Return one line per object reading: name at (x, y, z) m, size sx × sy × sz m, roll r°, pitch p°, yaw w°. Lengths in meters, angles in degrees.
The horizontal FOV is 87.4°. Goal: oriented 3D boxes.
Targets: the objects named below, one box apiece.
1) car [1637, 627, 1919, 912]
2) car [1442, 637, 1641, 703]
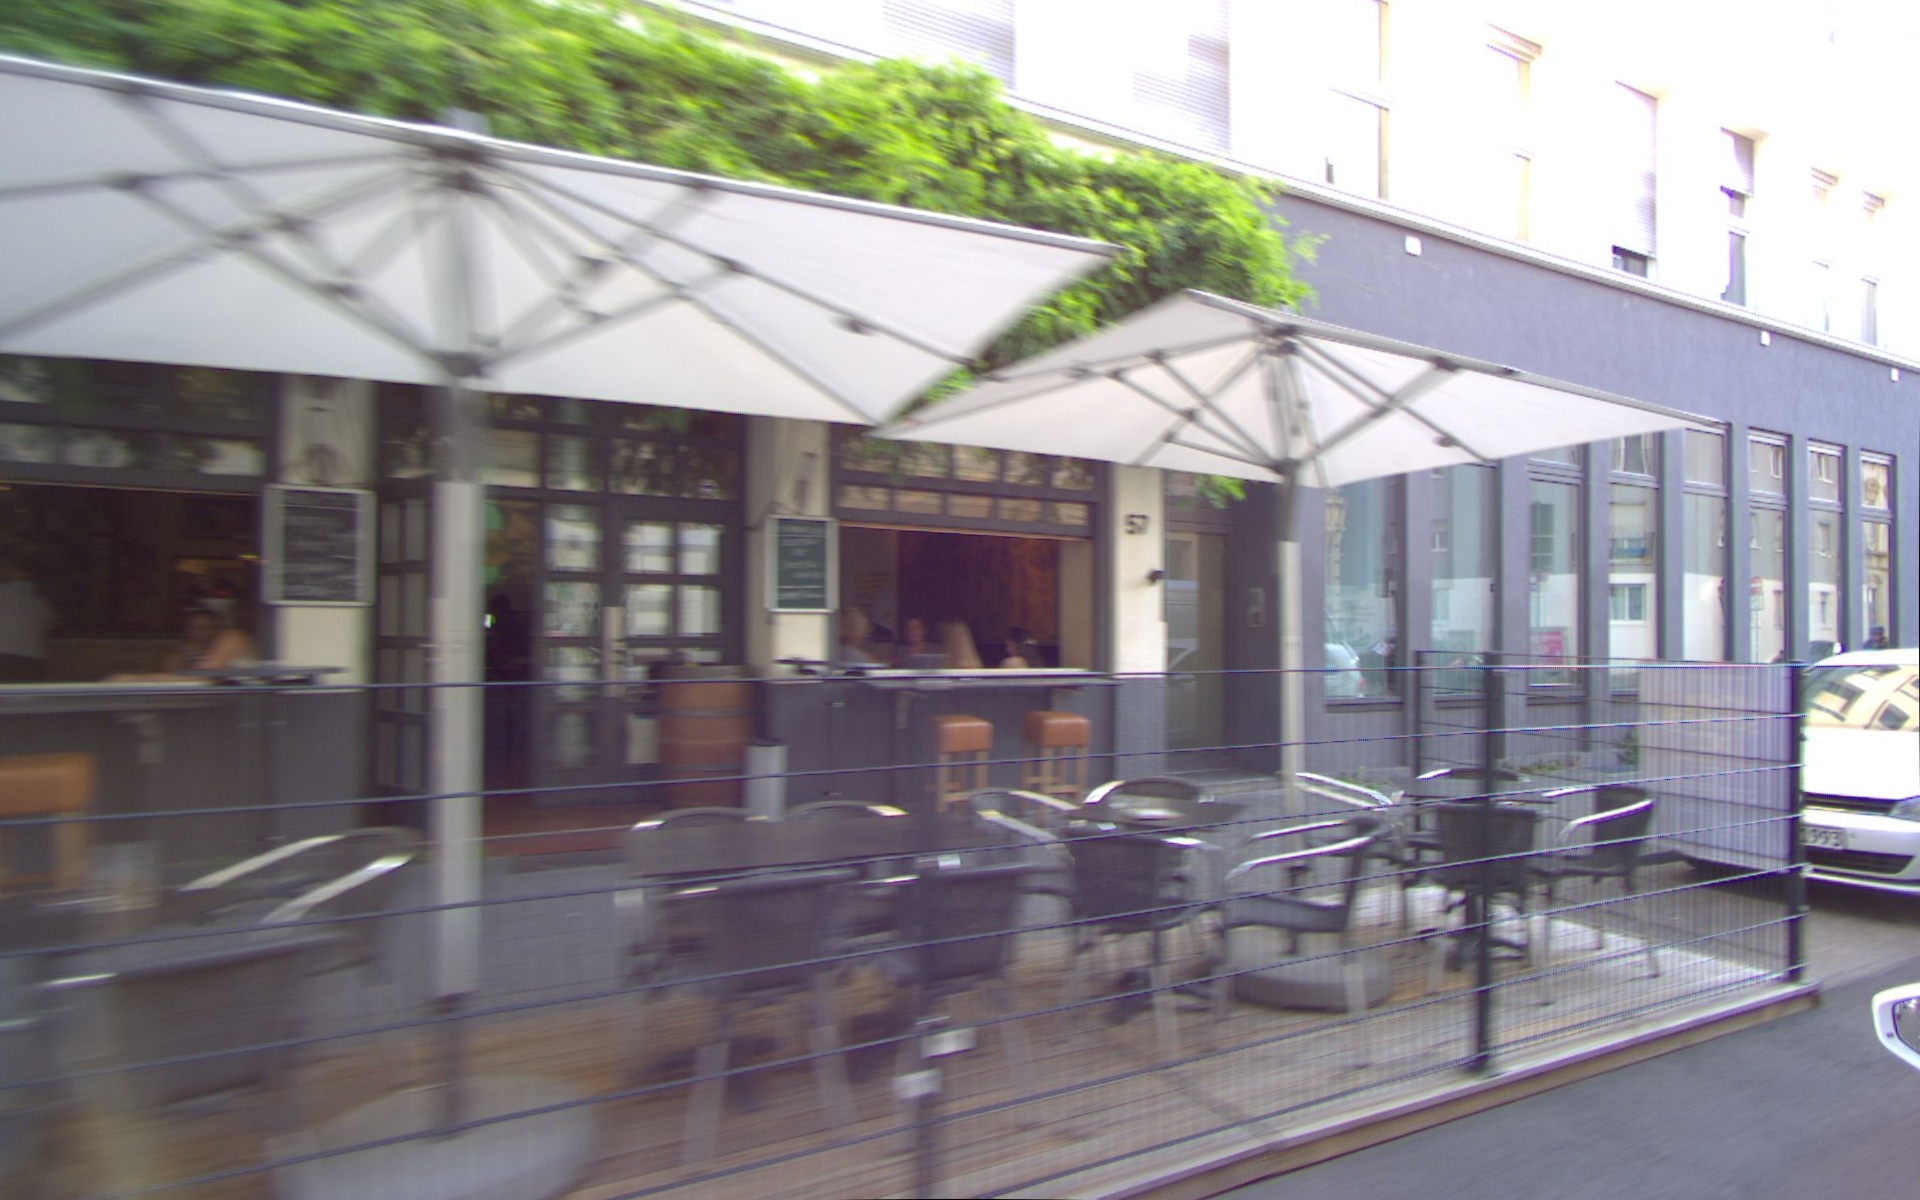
car at (6.287, 0.922, 6.438) m, size 3.834 × 1.432 × 1.651 m, roll 2°, pitch -2°, yaw -28°
car at (15.021, 1.756, 26.189) m, size 1.988 × 1.544 × 4.091 m, roll 1°, pitch -2°, yaw -26°
